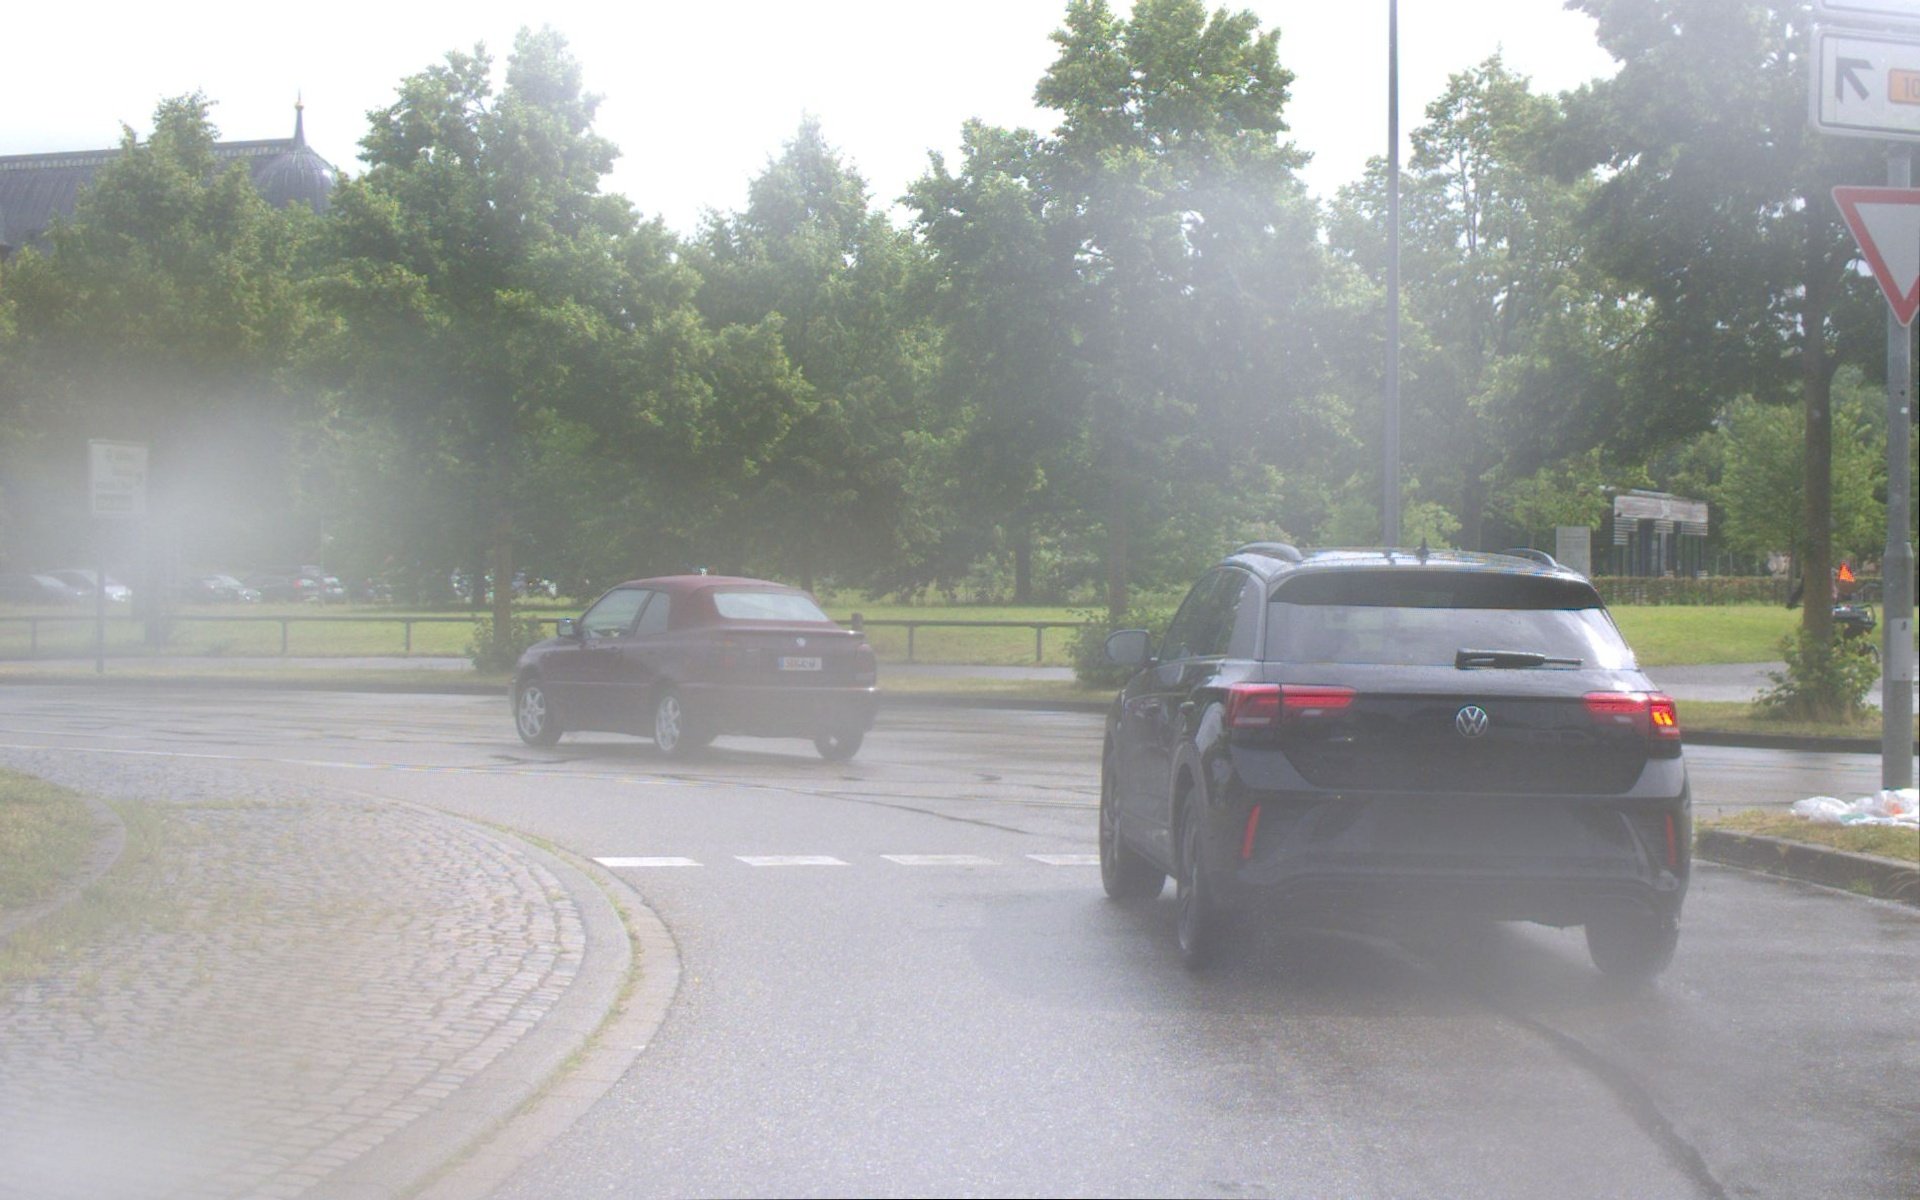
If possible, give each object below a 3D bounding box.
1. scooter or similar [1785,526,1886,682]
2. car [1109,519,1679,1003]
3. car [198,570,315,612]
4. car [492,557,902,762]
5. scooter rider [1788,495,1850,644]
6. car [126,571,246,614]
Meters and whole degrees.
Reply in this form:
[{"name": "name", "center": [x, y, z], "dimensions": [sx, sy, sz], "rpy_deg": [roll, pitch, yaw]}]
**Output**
[{"name": "scooter or similar", "center": [11.871, 0.088, 46.571], "dimensions": [1.237, 2.007, 3.406], "rpy_deg": [1, -1, 15]}, {"name": "car", "center": [1.609, 0.521, 13.621], "dimensions": [1.898, 1.612, 3.999], "rpy_deg": [1, 1, 4]}, {"name": "car", "center": [-26.456, -0.335, 129.325], "dimensions": [3.971, 1.554, 1.848], "rpy_deg": [0, 0, 24]}, {"name": "car", "center": [-2.203, 0.418, 27.770], "dimensions": [1.714, 1.457, 4.000], "rpy_deg": [0, 2, -31]}, {"name": "scooter rider", "center": [11.815, -0.414, 47.311], "dimensions": [0.704, 2.007, 0.770], "rpy_deg": [1, -1, 8]}, {"name": "car", "center": [-28.308, -0.280, 125.718], "dimensions": [3.971, 1.554, 1.848], "rpy_deg": [0, 0, 24]}]
